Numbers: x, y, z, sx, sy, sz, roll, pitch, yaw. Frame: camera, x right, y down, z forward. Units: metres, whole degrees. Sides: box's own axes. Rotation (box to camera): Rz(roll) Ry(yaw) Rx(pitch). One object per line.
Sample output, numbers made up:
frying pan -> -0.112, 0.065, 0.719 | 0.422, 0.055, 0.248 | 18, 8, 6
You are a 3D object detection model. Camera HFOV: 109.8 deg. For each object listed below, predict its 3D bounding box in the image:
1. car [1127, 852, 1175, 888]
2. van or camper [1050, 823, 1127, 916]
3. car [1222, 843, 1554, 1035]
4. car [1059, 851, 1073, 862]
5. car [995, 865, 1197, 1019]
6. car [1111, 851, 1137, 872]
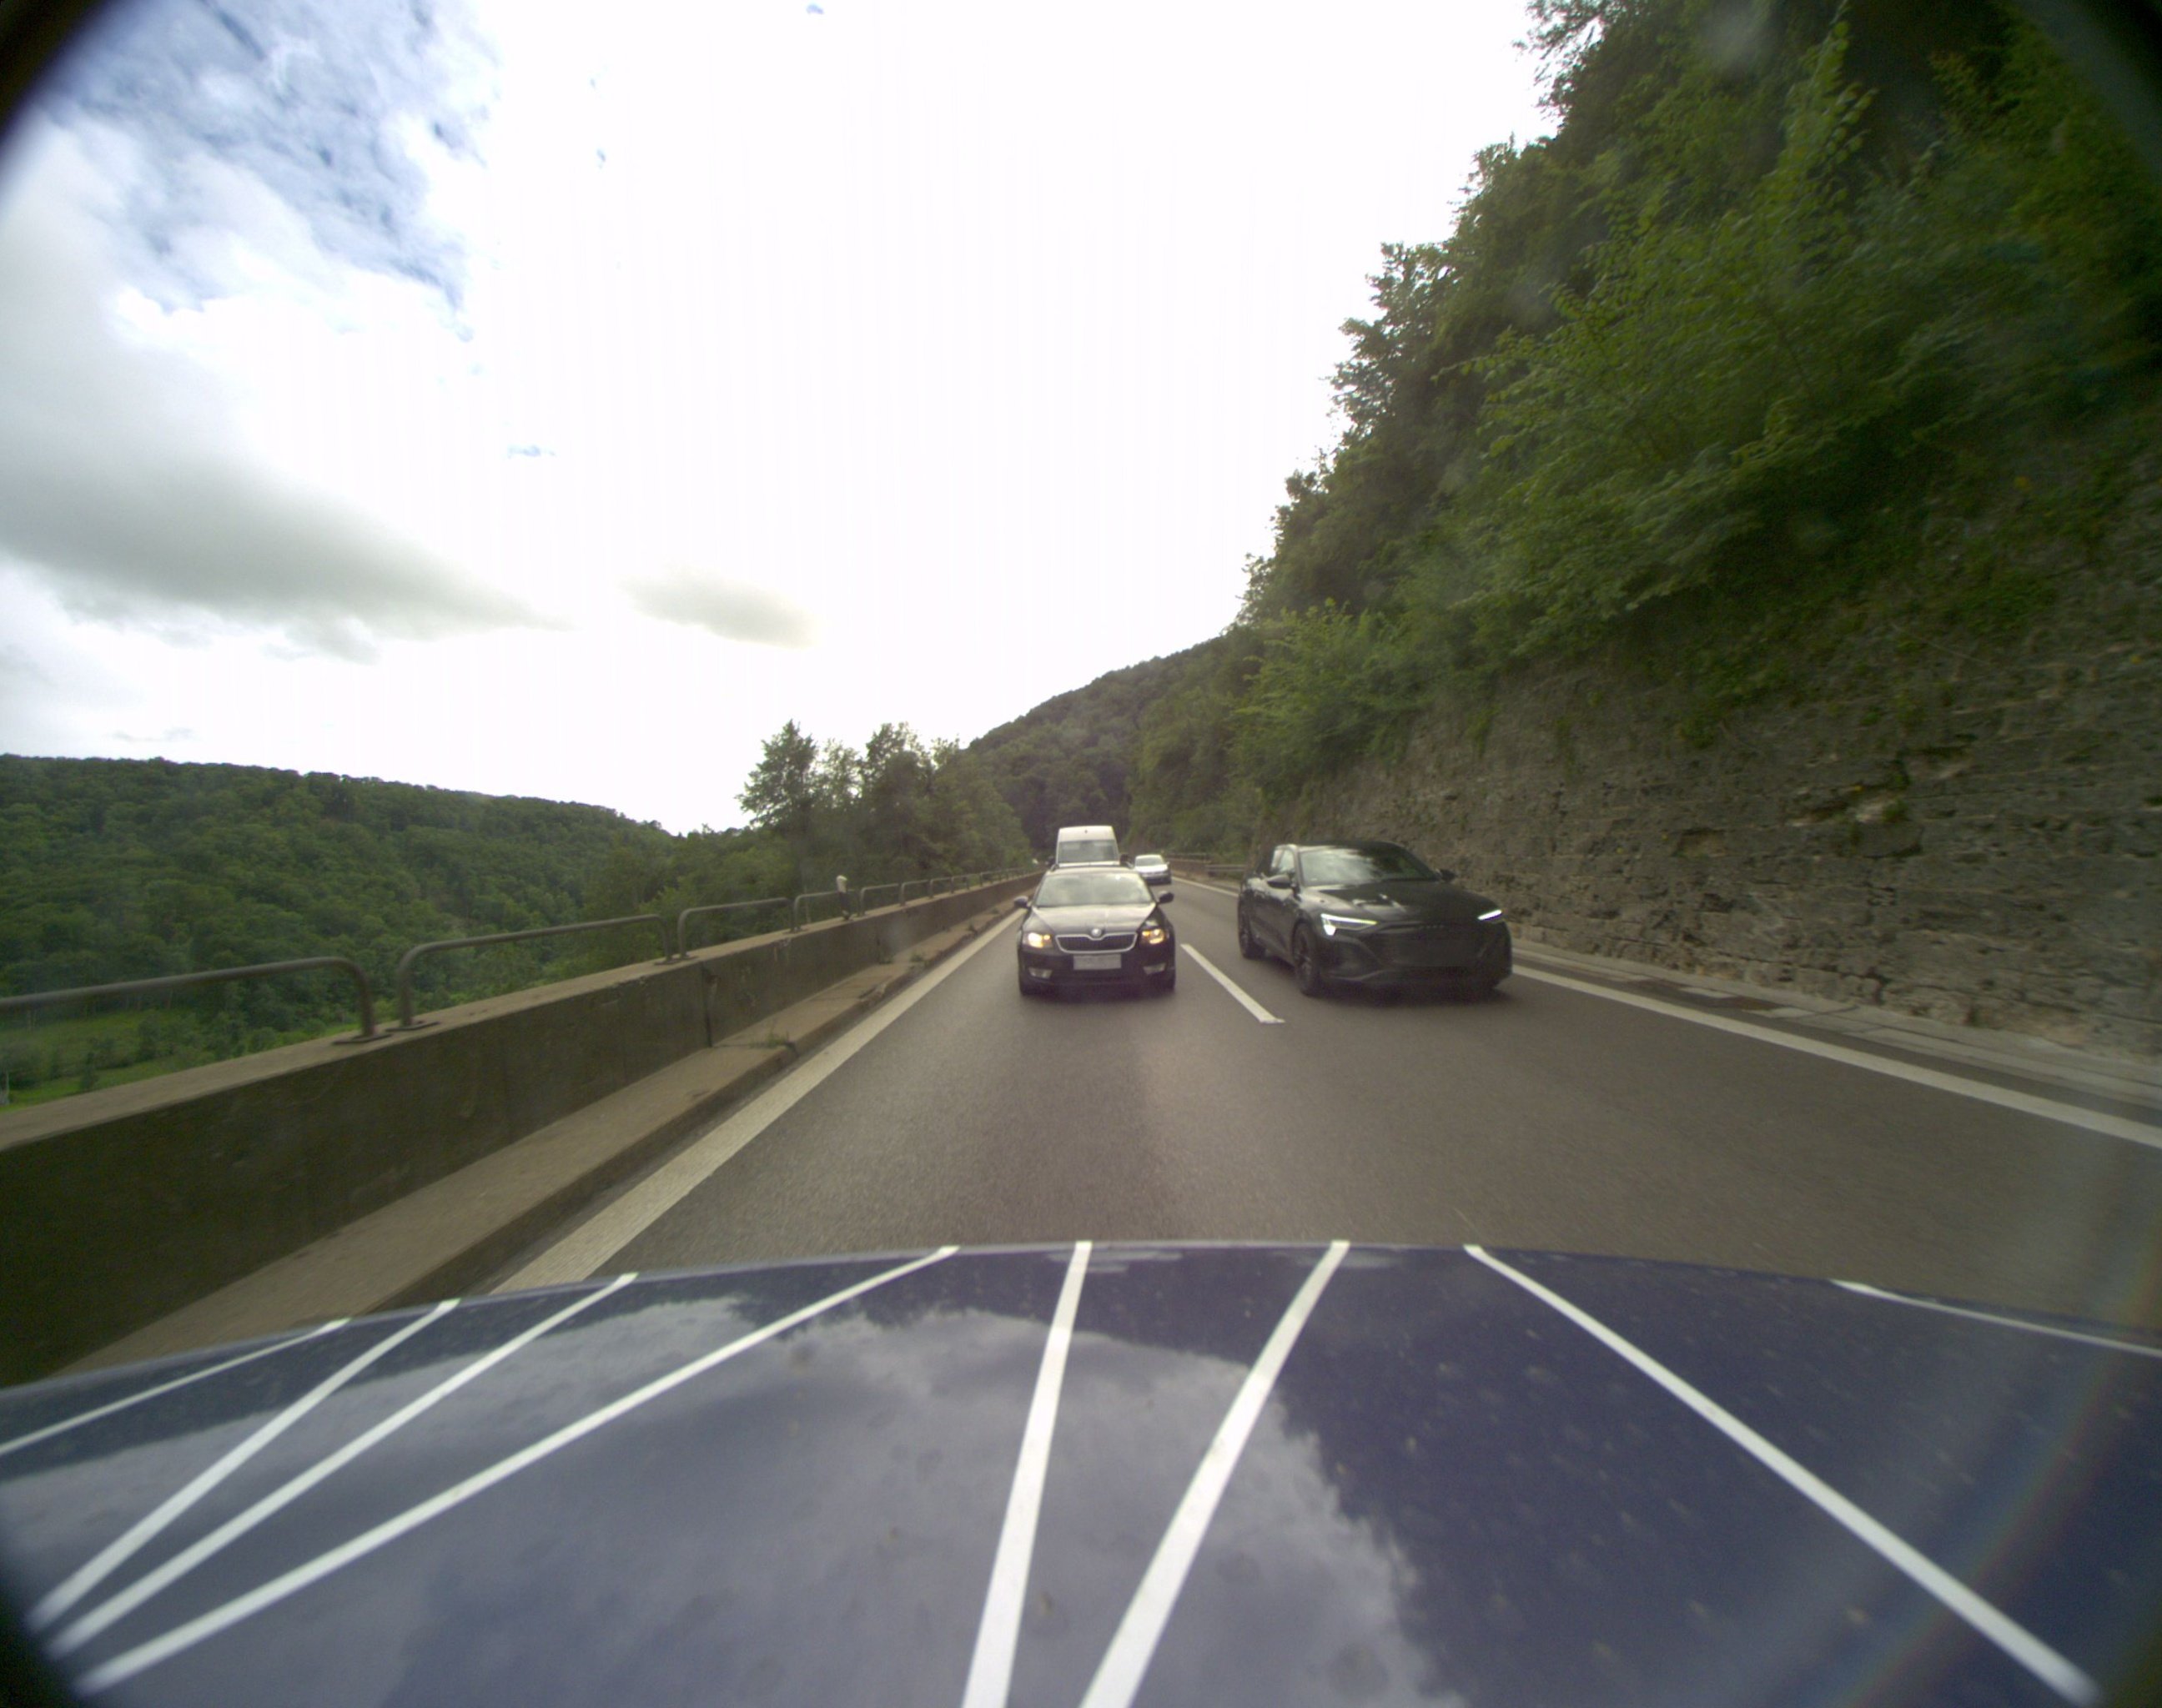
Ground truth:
car -> 3.352, 0.732, 37.382 | 1.685, 1.506, 4.582 | -6, 0, -1
van or camper -> 0.225, 0.453, 24.528 | 2.081, 2.575, 5.911 | -2, 0, 0
car -> 3.182, 0.741, 9.225 | 1.998, 1.622, 5.008 | -2, 0, 1
car -> -3.038, 0.593, 155.025 | 2.000, 2.002, 3.996 | -8, 1, -12
car -> 0.179, 0.927, 10.222 | 1.998, 1.389, 5.008 | -2, 0, 1
car -> 3.890, 0.646, 70.093 | 1.813, 1.646, 4.582 | -8, 0, -2
